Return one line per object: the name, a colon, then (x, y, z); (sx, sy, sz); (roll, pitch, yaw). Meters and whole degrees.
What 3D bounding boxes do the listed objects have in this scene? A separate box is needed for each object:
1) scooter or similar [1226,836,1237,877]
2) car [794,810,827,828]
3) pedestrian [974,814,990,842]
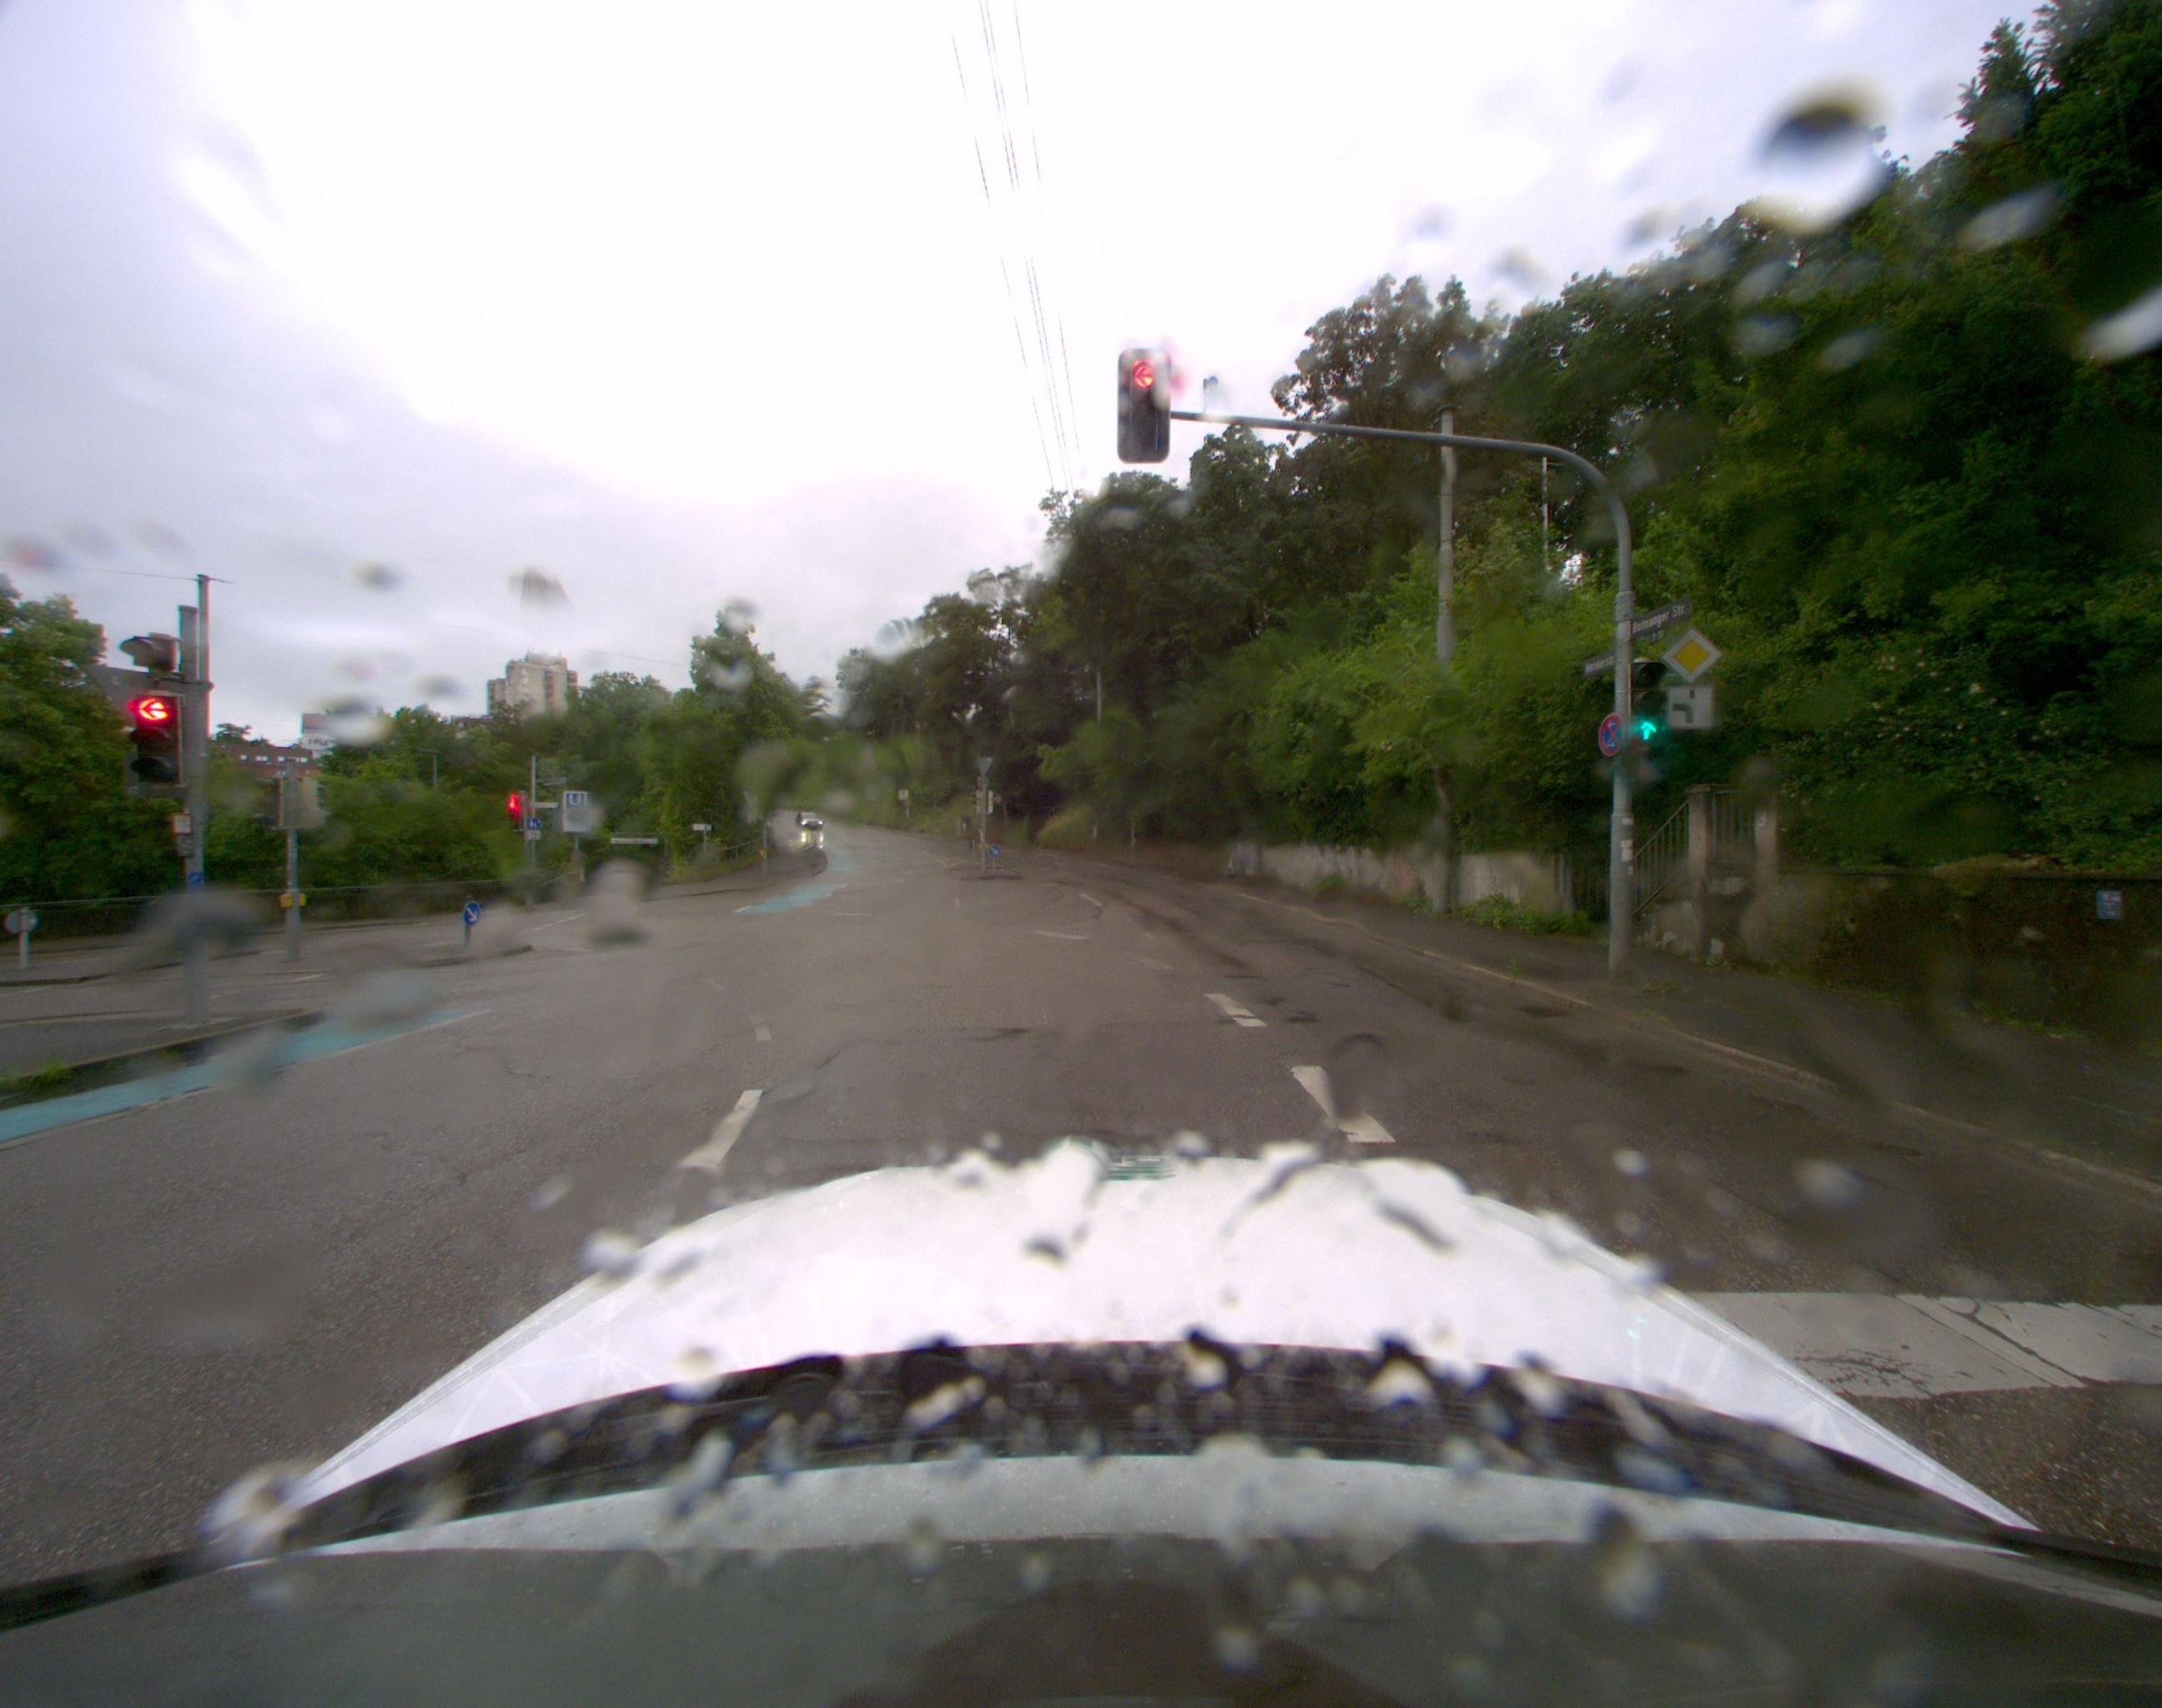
scooter or similar: (4.907, 0.064, 26.517); (0.320, 1.279, 0.754); (-1, 2, 10)
car: (-23.212, -2.987, 69.827); (1.968, 1.511, 4.365); (-1, 3, -28)
pedestrian: (-6.319, -1.640, 51.942); (0.882, 1.736, 0.861); (0, -1, -15)
